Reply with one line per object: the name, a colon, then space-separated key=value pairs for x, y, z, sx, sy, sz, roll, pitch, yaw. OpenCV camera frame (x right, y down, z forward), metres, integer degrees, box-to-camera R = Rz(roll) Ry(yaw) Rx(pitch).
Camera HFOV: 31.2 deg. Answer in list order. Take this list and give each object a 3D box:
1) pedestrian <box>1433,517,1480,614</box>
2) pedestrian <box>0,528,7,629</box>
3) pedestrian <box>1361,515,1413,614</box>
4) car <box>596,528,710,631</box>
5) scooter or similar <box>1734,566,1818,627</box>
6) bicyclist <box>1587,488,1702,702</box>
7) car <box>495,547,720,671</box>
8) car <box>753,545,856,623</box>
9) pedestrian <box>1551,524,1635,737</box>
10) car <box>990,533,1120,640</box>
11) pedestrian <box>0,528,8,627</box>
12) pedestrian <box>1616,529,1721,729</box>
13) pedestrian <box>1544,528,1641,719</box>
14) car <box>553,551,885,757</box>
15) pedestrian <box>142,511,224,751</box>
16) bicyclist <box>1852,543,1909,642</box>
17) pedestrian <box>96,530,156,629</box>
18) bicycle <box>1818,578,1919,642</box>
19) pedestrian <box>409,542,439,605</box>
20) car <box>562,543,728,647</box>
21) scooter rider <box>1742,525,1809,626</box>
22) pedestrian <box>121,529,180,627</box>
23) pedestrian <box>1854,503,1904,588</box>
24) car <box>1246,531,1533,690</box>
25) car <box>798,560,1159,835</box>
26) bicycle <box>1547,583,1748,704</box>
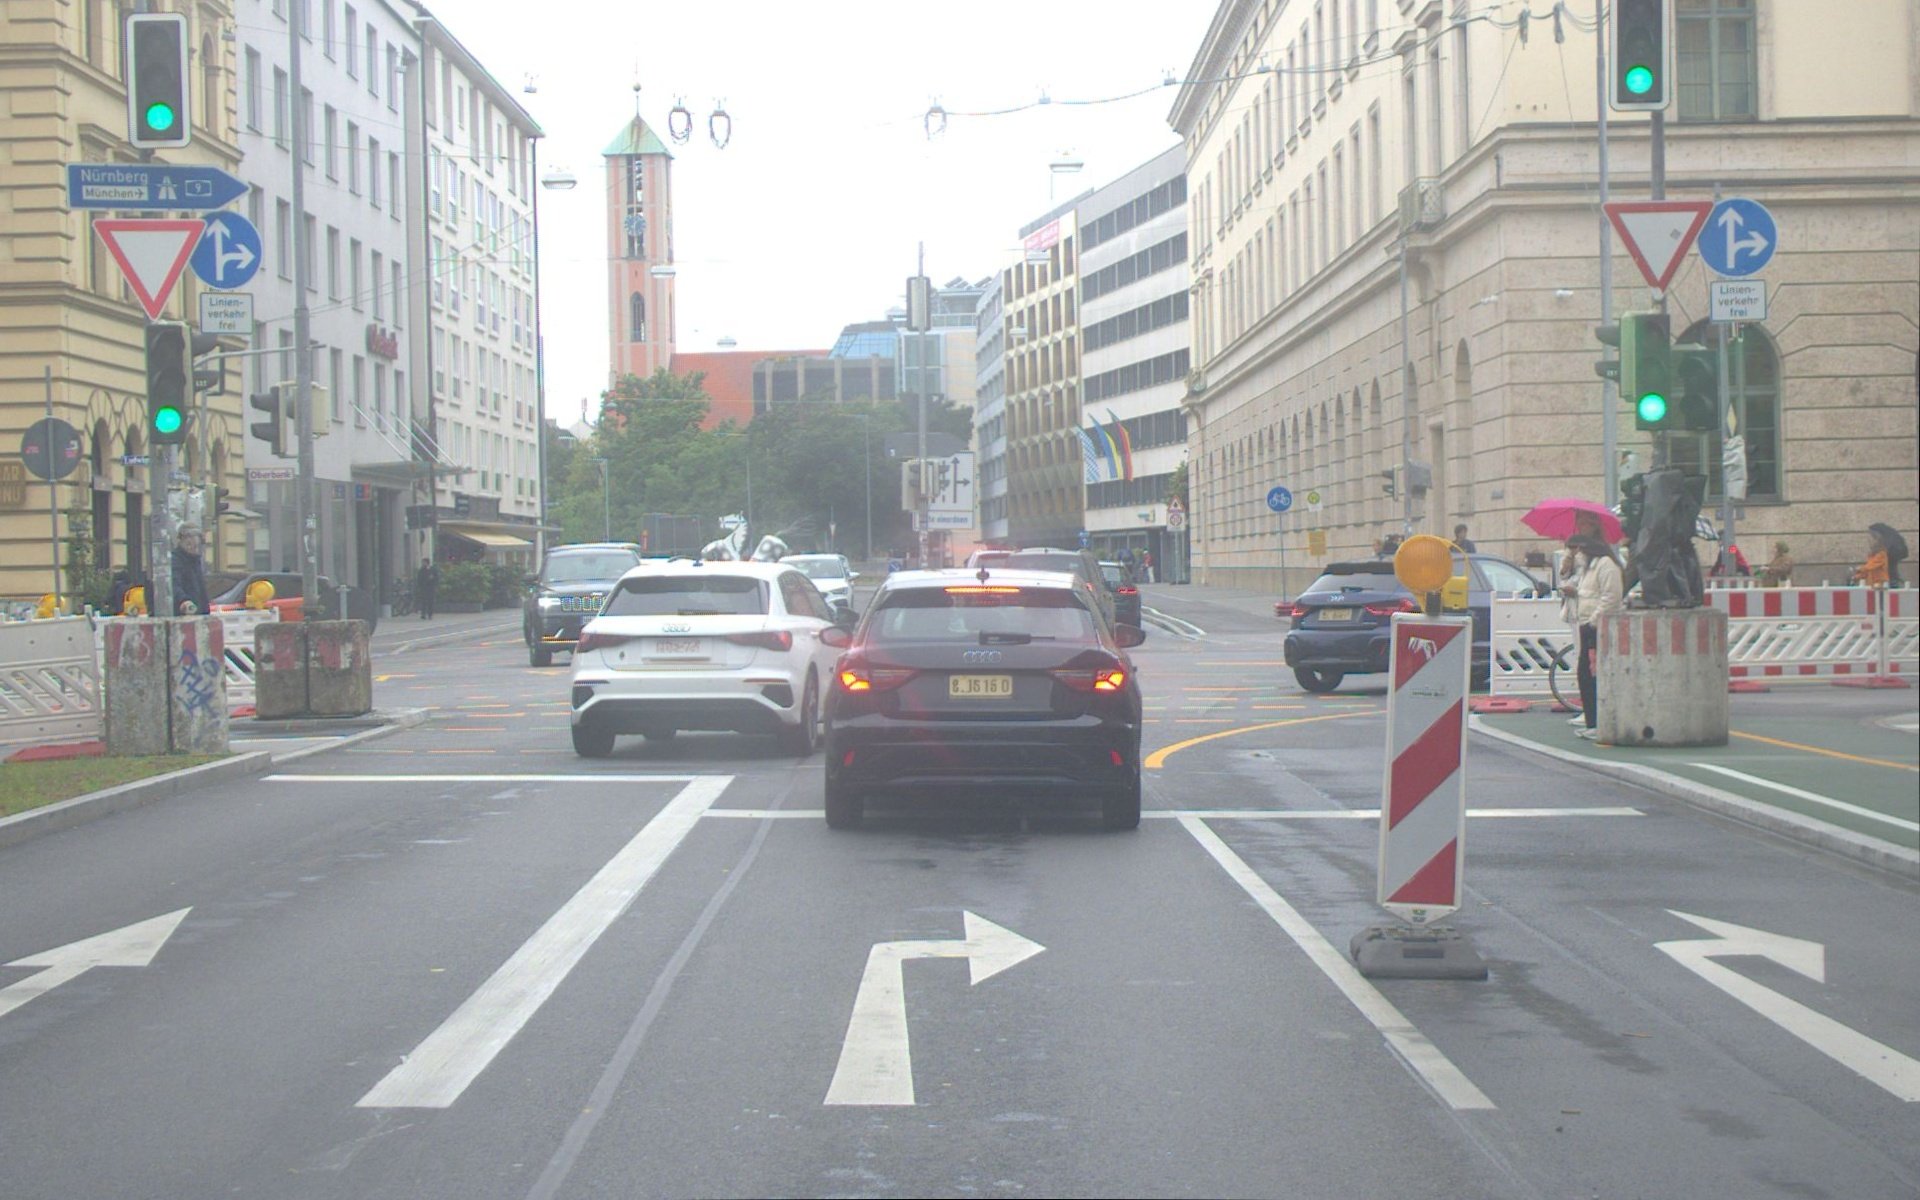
pedestrian: x=9.049 y=-0.626 z=62.625 sx=0.584 sy=1.749 sz=0.818 roll=1 pitch=1 yaw=31
pedestrian: x=-17.206 y=-0.385 z=60.568 sx=0.733 sy=1.766 sz=0.739 roll=0 pitch=1 yaw=-10
pedestrian: x=7.641 y=-0.636 z=61.543 sx=0.818 sy=1.749 sz=0.679 roll=0 pitch=1 yaw=16
car: x=-6.337 y=-0.451 z=71.348 sx=2.237 sy=2.007 sz=4.451 roll=-1 pitch=1 yaw=-4
scooter or similar: x=13.133 y=-0.056 z=55.358 sx=1.211 sy=0.961 sz=0.588 roll=0 pitch=1 yaw=1
bicyclist: x=5.991 y=-0.055 z=30.104 sx=0.798 sy=1.847 sz=0.566 roll=1 pitch=1 yaw=42
car: x=-5.276 y=0.097 z=52.133 sx=1.995 sy=1.728 sz=4.583 roll=-1 pitch=1 yaw=13
car: x=-3.198 y=-0.361 z=71.381 sx=1.993 sy=1.518 sz=4.233 roll=-1 pitch=1 yaw=-1
pedestrian: x=4.852 y=0.225 z=26.373 sx=0.531 sy=1.614 sz=0.674 roll=0 pitch=1 yaw=2
car: x=1.465 y=-0.236 z=54.361 sx=1.865 sy=1.596 sz=3.851 roll=-1 pitch=1 yaw=-1
pedestrian: x=-17.402 y=-0.409 z=61.304 sx=0.733 sy=1.766 sz=0.739 roll=0 pitch=1 yaw=-10
pedestrian: x=5.621 y=0.222 z=27.293 sx=0.702 sy=1.562 sz=0.682 roll=0 pitch=1 yaw=2
pedestrian: x=5.214 y=0.186 z=28.380 sx=0.702 sy=1.562 sz=0.584 roll=0 pitch=1 yaw=2
car: x=-1.755 y=0.343 z=26.463 sx=1.813 sy=1.420 sz=4.451 roll=0 pitch=1 yaw=6
pedestrian: x=-5.774 y=0.218 z=25.580 sx=0.512 sy=1.737 sz=1.043 roll=-1 pitch=1 yaw=-10
bicyclist: x=15.074 y=-0.132 z=56.321 sx=0.744 sy=1.609 sz=0.795 roll=0 pitch=1 yaw=3
pedestrian: x=-14.893 y=-0.369 z=61.373 sx=0.734 sy=1.766 sz=0.760 roll=0 pitch=1 yaw=21
bicycle: x=15.126 y=0.161 z=56.319 sx=1.958 sy=1.037 sz=0.795 roll=0 pitch=1 yaw=3
pedestrian: x=-15.137 y=-0.747 z=97.117 sx=0.737 sy=1.766 sz=0.736 roll=0 pitch=1 yaw=-1
car: x=-5.420 y=-0.117 z=59.628 sx=1.794 sy=1.672 sz=4.231 roll=-1 pitch=1 yaw=10
scooter rider: x=13.132 y=-0.390 z=55.354 sx=0.932 sy=1.617 sz=0.592 roll=0 pitch=1 yaw=1
pedestrian: x=-14.620 y=-0.405 z=62.102 sx=0.734 sy=1.766 sz=0.738 roll=0 pitch=1 yaw=21
pedestrian: x=16.621 y=-0.982 z=62.166 sx=0.665 sy=1.522 sz=0.820 roll=0 pitch=1 yaw=-1
car: x=4.687 y=0.063 z=37.071 sx=1.771 sy=1.611 sz=3.994 roll=1 pitch=1 yaw=28
car: x=0.079 y=0.483 z=19.775 sx=1.863 sy=1.383 sz=4.000 roll=0 pitch=1 yaw=-1
bicycle: x=6.010 y=0.369 z=30.091 sx=1.655 sy=1.008 sz=0.585 roll=1 pitch=1 yaw=42
